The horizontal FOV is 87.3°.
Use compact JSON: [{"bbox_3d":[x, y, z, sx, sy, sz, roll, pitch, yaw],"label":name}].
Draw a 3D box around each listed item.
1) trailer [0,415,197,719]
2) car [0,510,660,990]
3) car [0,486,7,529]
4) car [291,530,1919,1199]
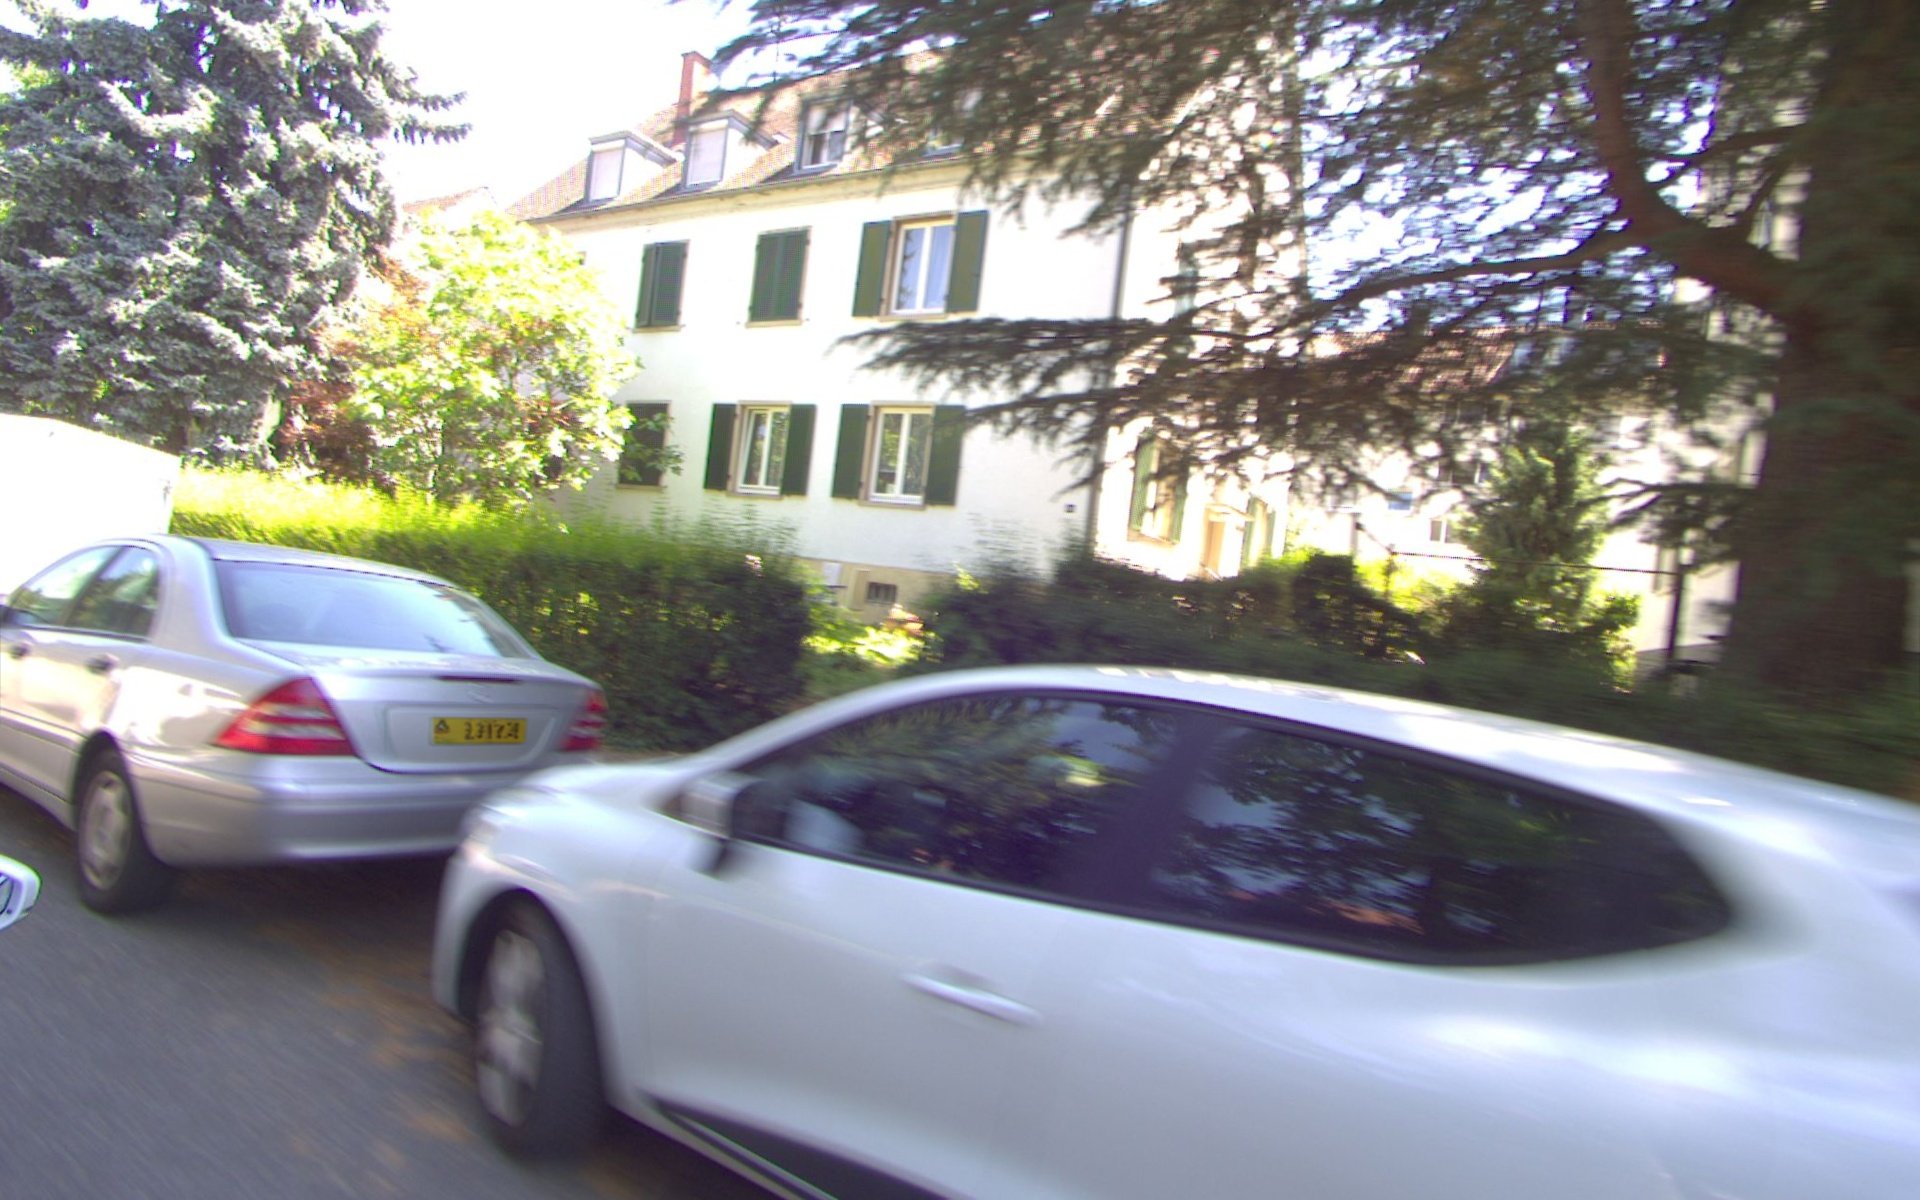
[{"bbox_3d":[-8.146,-0.385,8.175,3.646,2.091,1.684,7,-2,32],"label":"trailer"},{"bbox_3d":[-3.614,0.427,4.961,4.189,1.411,1.618,6,-3,32],"label":"car"},{"bbox_3d":[-11.949,-0.635,10.410,4.528,1.650,1.776,7,-2,32],"label":"car"},{"bbox_3d":[0.103,0.789,2.732,3.998,1.486,1.617,7,-2,33],"label":"car"}]
